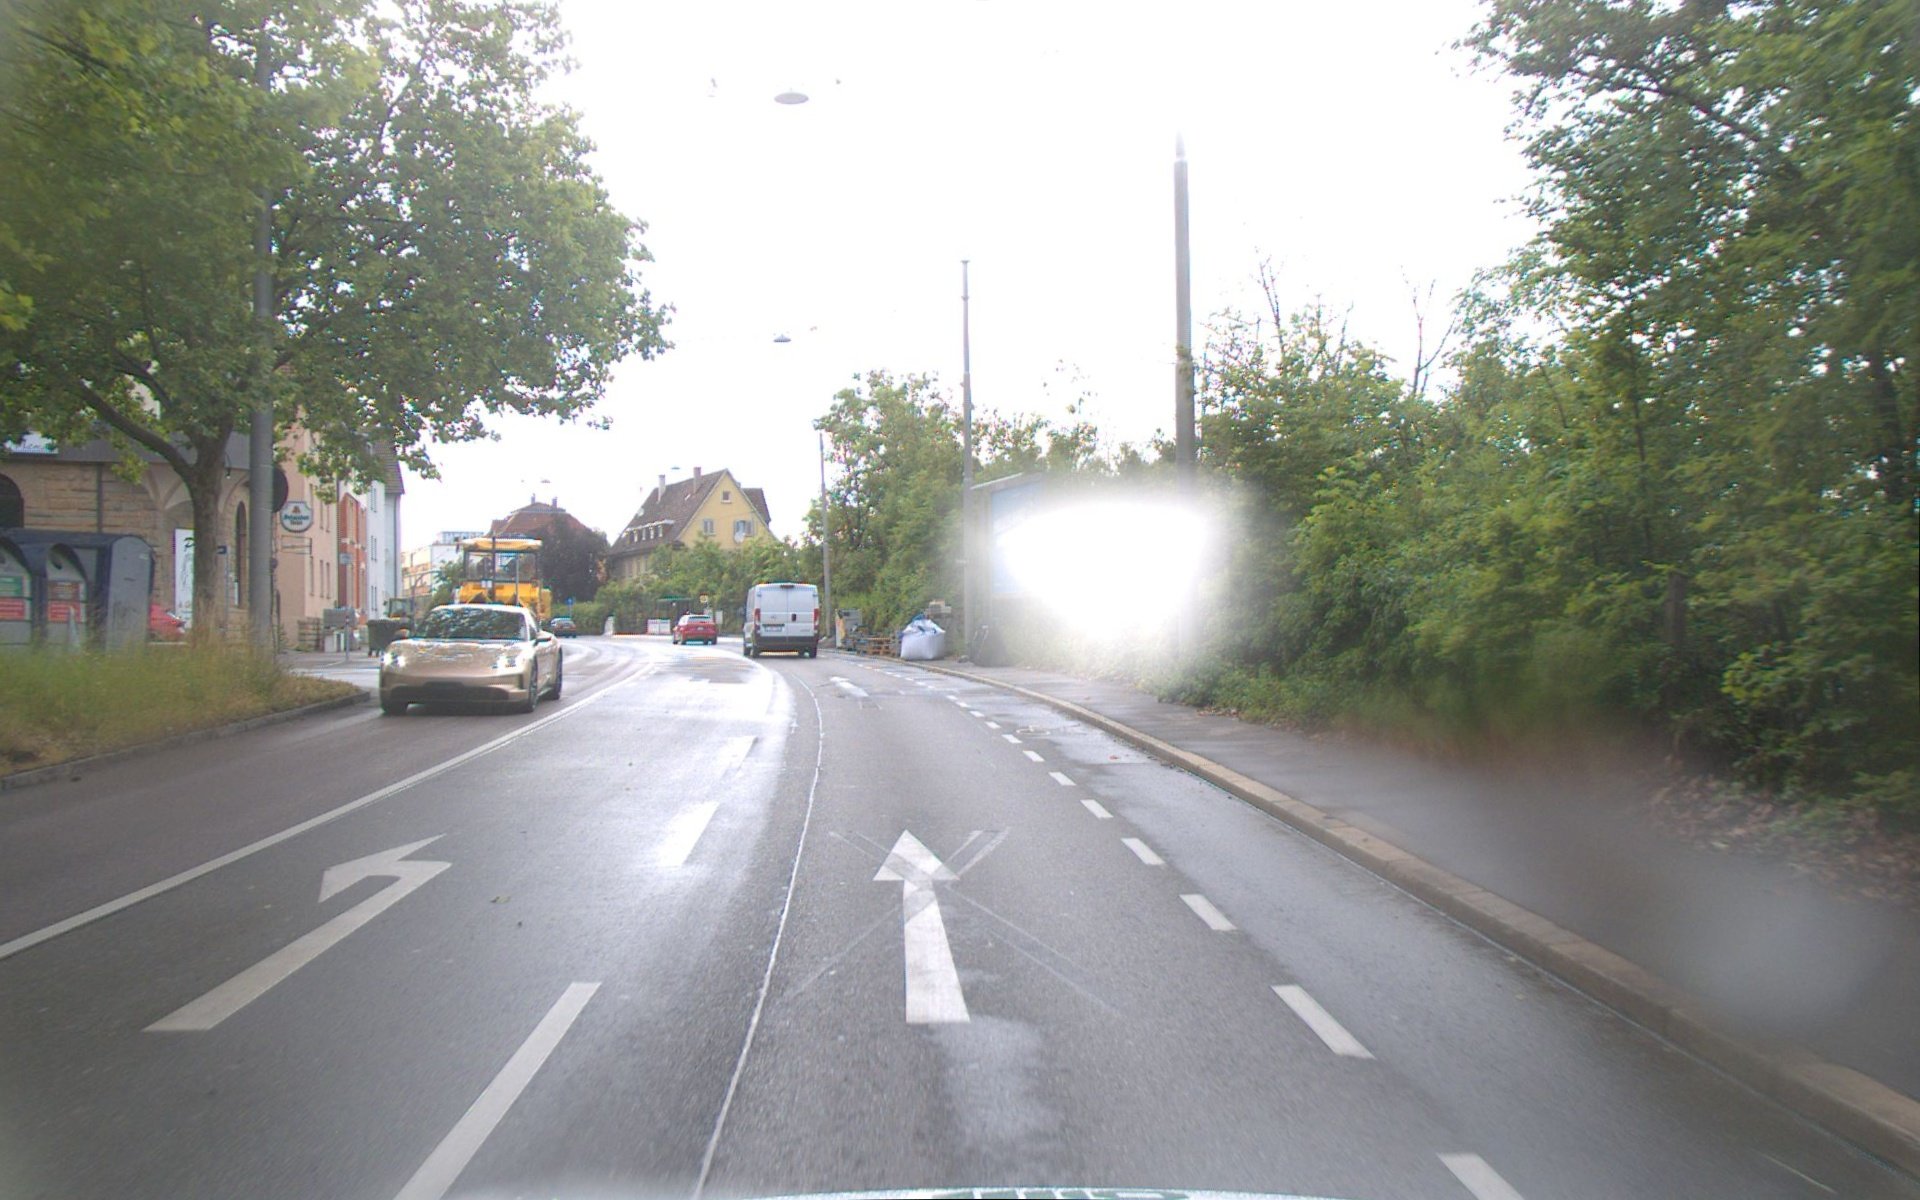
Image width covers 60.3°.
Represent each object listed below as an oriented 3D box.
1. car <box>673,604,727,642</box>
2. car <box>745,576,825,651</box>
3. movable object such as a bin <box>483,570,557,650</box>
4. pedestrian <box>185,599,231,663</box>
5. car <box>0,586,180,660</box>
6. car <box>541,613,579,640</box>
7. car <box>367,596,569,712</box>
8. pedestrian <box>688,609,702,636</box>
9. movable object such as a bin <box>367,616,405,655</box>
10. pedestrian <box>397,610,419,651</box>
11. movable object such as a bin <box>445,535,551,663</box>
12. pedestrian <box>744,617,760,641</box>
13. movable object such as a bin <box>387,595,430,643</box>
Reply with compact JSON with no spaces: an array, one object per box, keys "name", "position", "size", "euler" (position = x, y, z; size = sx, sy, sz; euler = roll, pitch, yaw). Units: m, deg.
[{"name":"car","position":[-12.797,1.100,81.151],"size":[2.200,1.685,4.696],"euler":[1,1,-14]},{"name":"car","position":[-5.585,0.378,52.357],"size":[2.197,2.252,4.702],"euler":[1,1,-10]},{"name":"movable object such as a bin","position":[-18.226,0.376,68.754],"size":[2.822,3.228,4.111],"euler":[1,1,-14]},{"name":"pedestrian","position":[-17.156,0.712,37.739],"size":[0.790,1.426,0.780],"euler":[1,1,-11]},{"name":"car","position":[-20.854,0.534,38.894],"size":[4.477,1.601,1.920],"euler":[2,0,-27]},{"name":"car","position":[-29.290,1.922,121.109],"size":[2.205,1.836,4.685],"euler":[1,1,-20]},{"name":"car","position":[-6.721,0.677,23.117],"size":[2.032,1.376,4.705],"euler":[1,1,-8]},{"name":"pedestrian","position":[-17.729,1.501,110.566],"size":[0.889,1.761,0.652],"euler":[1,1,-12]},{"name":"movable object such as a bin","position":[-19.050,1.162,54.889],"size":[0.883,1.243,1.190],"euler":[0,1,-35]},{"name":"pedestrian","position":[-22.409,1.242,67.163],"size":[0.751,1.616,1.087],"euler":[1,1,-15]},{"name":"movable object such as a bin","position":[-15.005,-0.084,54.061],"size":[2.724,3.923,5.973],"euler":[1,1,-10]},{"name":"pedestrian","position":[-12.856,1.793,102.329],"size":[0.863,1.391,1.062],"euler":[1,1,-12]},{"name":"movable object such as a bin","position":[-32.784,1.090,98.415],"size":[1.959,2.730,4.613],"euler":[1,1,-13]}]
